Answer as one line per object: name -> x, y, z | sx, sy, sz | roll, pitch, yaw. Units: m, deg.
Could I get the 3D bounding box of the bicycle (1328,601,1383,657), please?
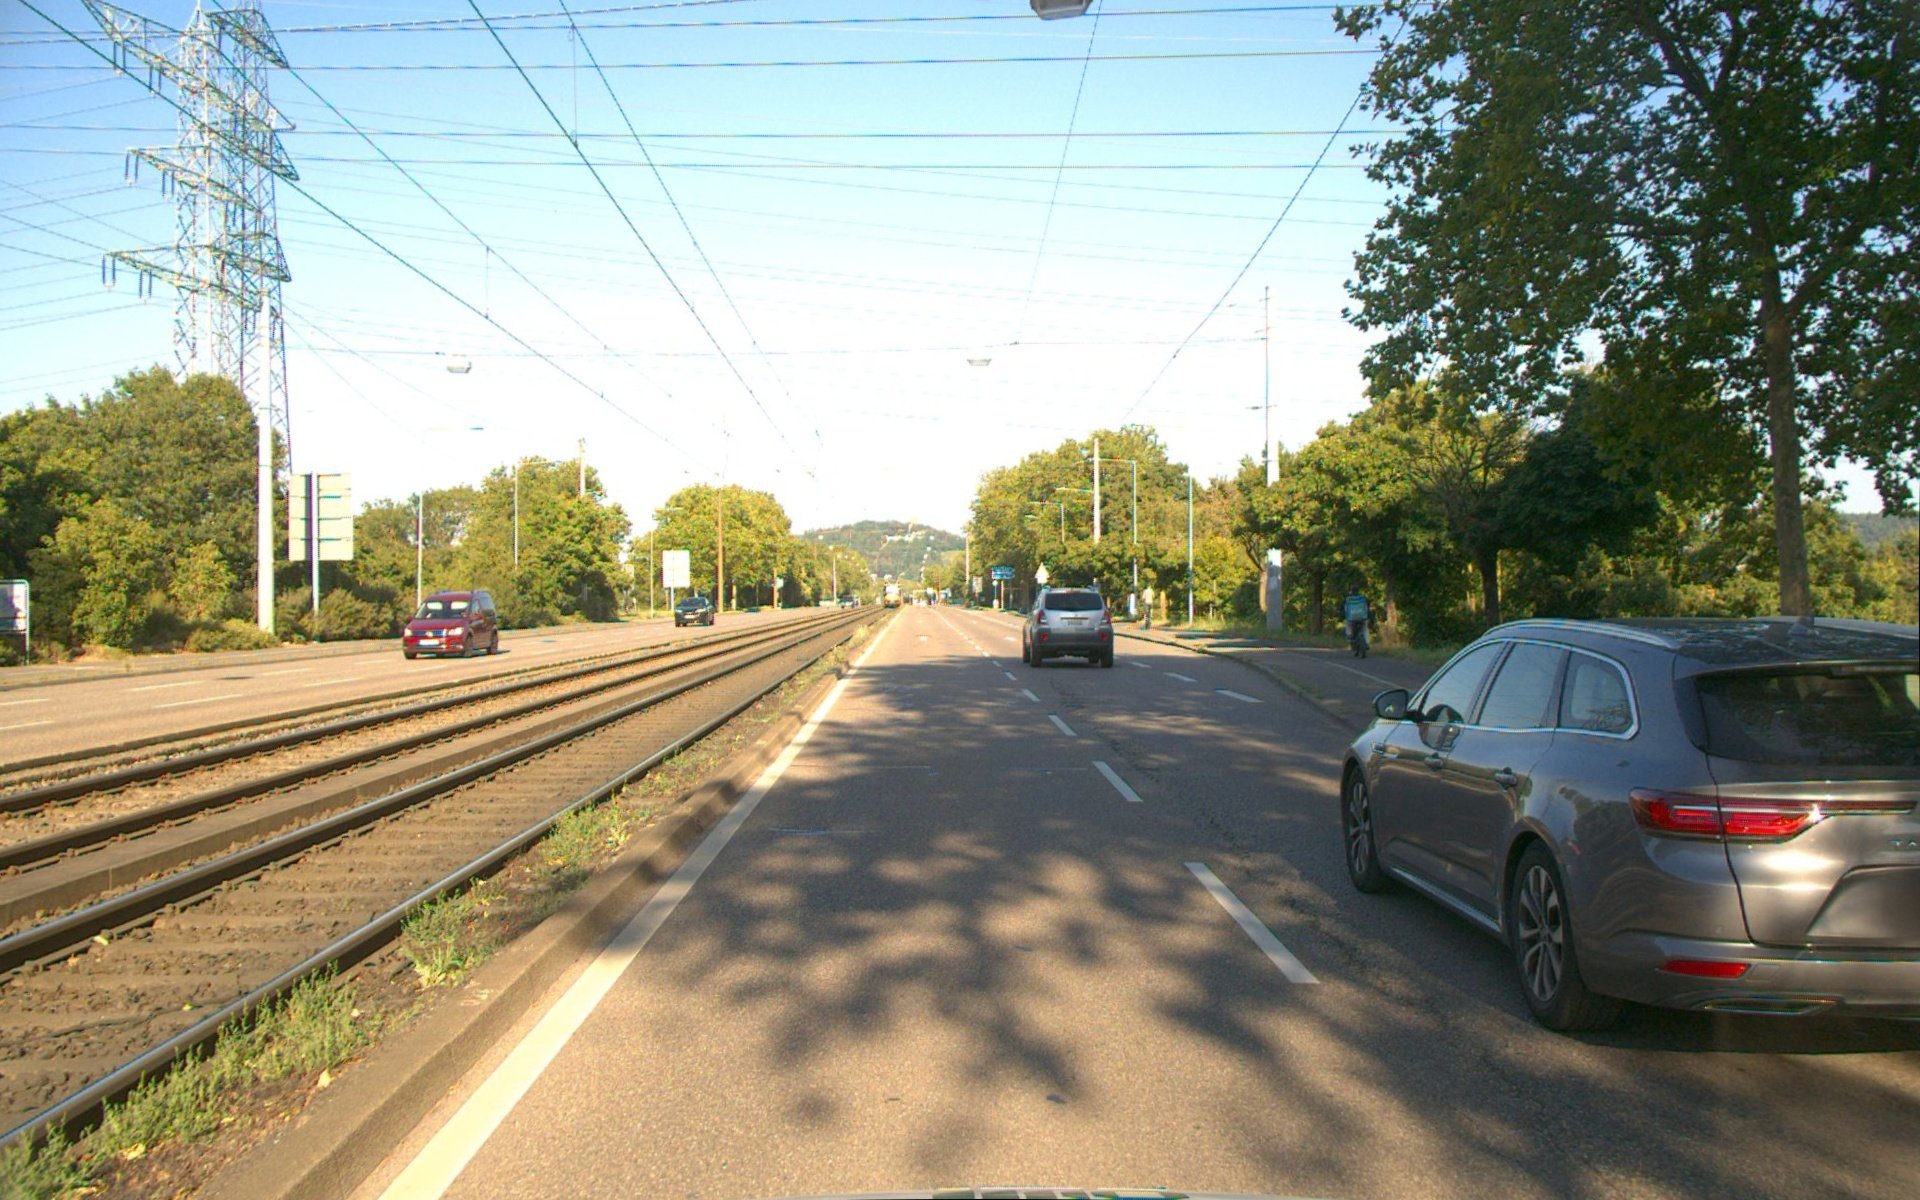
bicycle -> 8.677, 0.627, 36.354 | 0.778, 1.113, 1.895 | -3, 1, 3

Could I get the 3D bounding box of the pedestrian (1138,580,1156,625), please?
pedestrian -> 8.027, 0.095, 70.982 | 0.613, 1.904, 0.623 | 1, 1, -1

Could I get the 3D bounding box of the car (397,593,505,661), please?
car -> -14.236, 0.707, 46.443 | 1.825, 1.750, 4.000 | 0, 1, -1

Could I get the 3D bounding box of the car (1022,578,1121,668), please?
car -> 2.451, 0.459, 37.134 | 1.845, 1.827, 4.000 | 1, 1, -1

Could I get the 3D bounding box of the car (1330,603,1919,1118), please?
car -> 3.038, 0.768, 7.192 | 1.827, 1.493, 4.666 | 0, 0, 0

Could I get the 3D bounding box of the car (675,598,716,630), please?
car -> -15.320, 0.792, 95.954 | 1.867, 1.672, 3.998 | 1, 1, -3

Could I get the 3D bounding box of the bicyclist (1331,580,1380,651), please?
bicyclist -> 8.659, 0.330, 36.227 | 0.778, 1.485, 1.112 | -3, 1, 3
